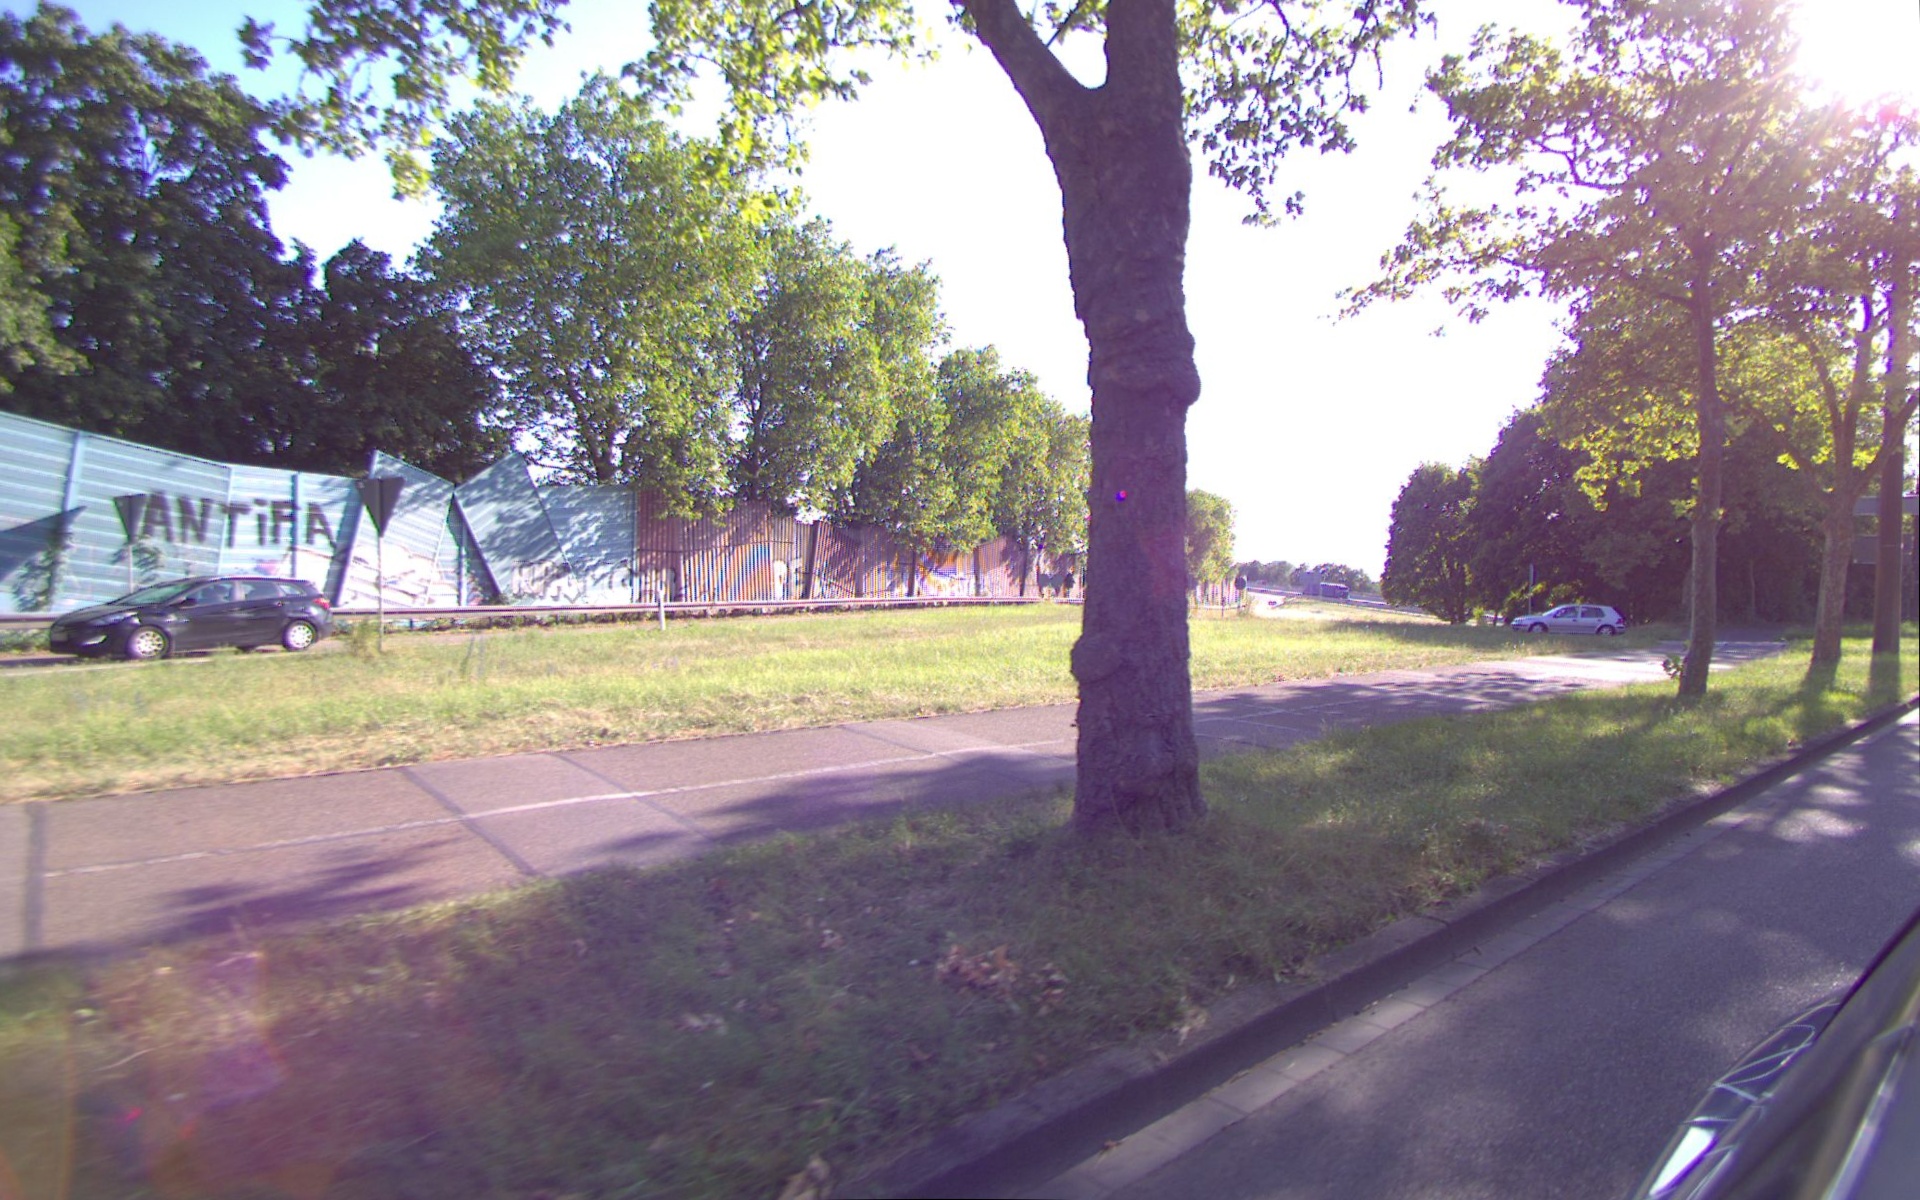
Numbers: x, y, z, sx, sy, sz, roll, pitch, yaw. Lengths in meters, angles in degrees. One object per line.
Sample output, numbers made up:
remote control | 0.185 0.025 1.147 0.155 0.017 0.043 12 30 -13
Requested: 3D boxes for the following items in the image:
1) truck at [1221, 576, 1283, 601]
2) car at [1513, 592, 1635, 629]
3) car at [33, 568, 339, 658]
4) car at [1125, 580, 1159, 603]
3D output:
truck | 52.917 -2.103 183.411 10.485 3.536 2.634 6 3 21
car | 25.632 0.425 42.381 4.082 1.435 1.684 1 1 19
car | -14.068 0.173 18.701 1.779 1.458 4.189 1 1 24
car | 14.656 -0.732 81.368 1.796 1.795 3.830 1 1 25
